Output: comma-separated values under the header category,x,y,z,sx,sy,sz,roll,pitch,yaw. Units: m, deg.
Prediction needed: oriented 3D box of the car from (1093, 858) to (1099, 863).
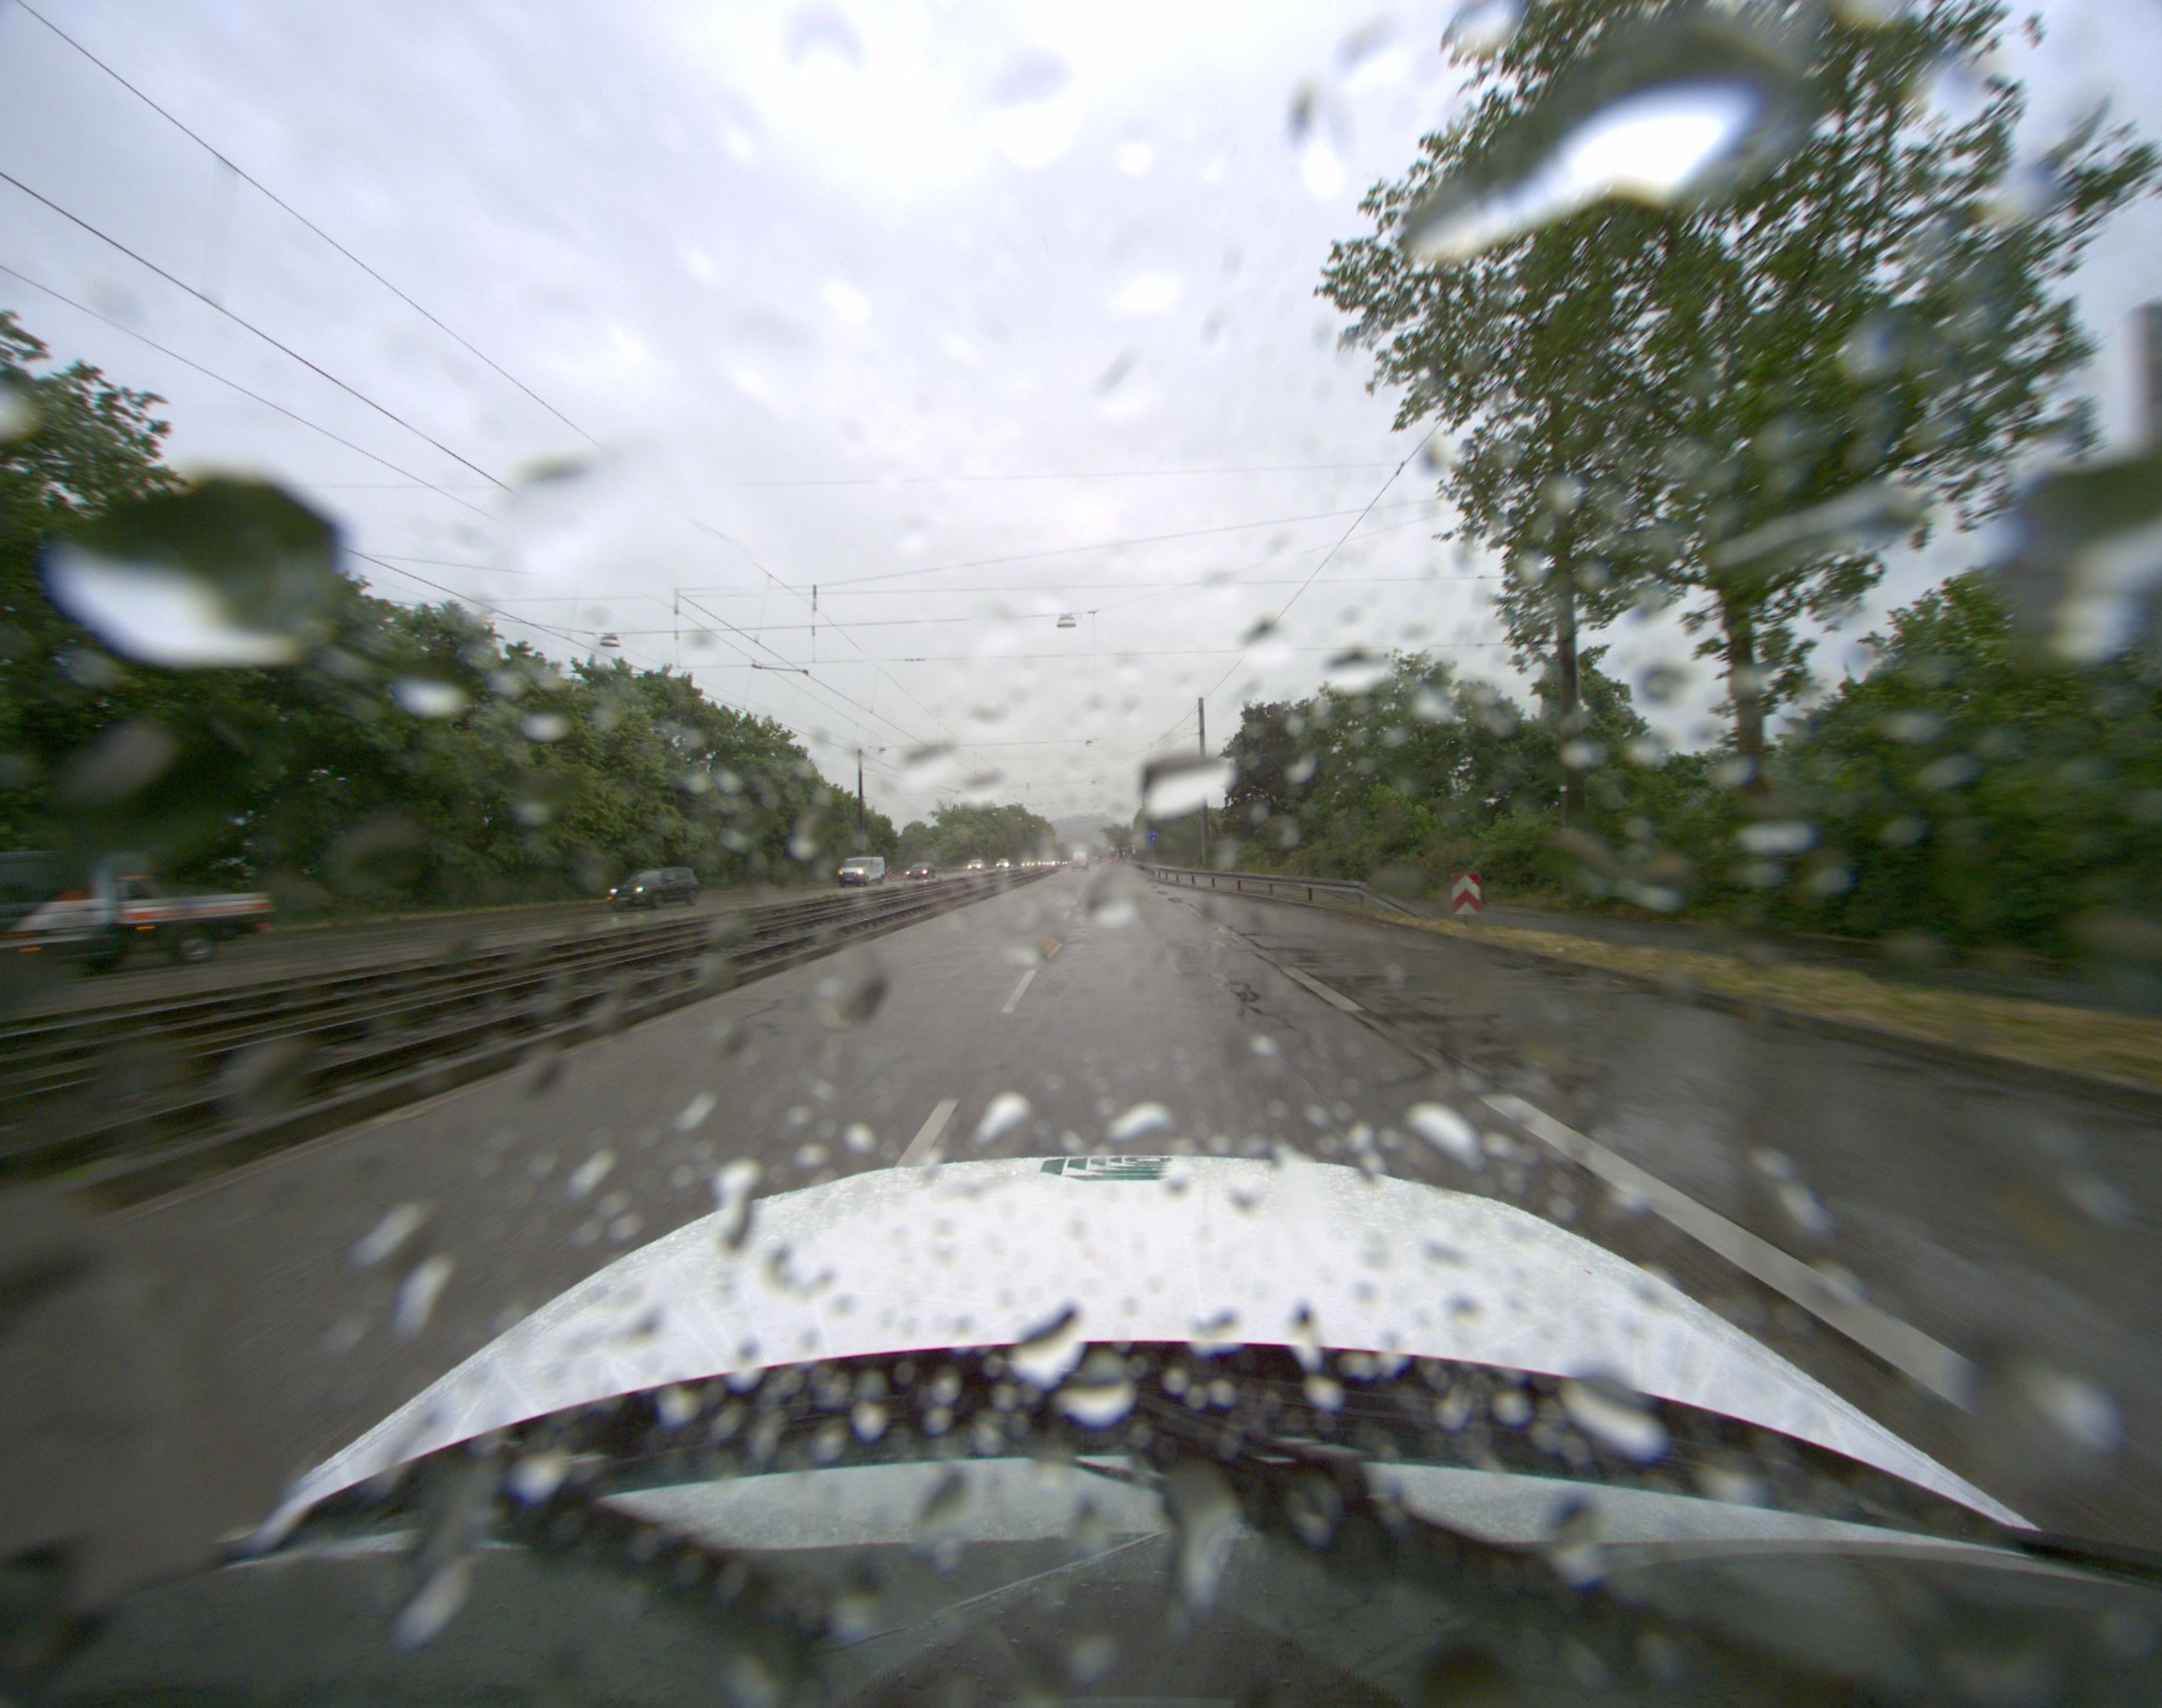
category,x,y,z,sx,sy,sz,roll,pitch,yaw
car,4.071,1.752,219.845,1.737,1.508,3.701,0,1,1

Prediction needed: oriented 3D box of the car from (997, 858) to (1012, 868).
category,x,y,z,sx,sy,sz,roll,pitch,yaw
car,-12.080,1.396,128.574,1.791,1.453,4.197,0,1,2

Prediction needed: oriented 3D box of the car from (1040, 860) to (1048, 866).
category,x,y,z,sx,sy,sz,roll,pitch,yaw
car,-9.888,2.317,217.187,1.737,1.508,3.701,0,1,1

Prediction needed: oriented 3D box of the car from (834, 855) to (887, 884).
category,x,y,z,sx,sy,sz,roll,pitch,yaw
car,-15.138,1.031,56.186,2.031,1.775,4.990,0,1,3

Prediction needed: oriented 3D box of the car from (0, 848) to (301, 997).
category,x,y,z,sx,sy,sz,roll,pitch,yaw
car,-18.409,1.112,14.464,2.090,2.343,6.996,0,1,3

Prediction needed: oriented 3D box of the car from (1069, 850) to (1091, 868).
category,x,y,z,sx,sy,sz,roll,pitch,yaw
car,-0.051,0.473,83.106,1.981,1.684,3.743,0,1,3

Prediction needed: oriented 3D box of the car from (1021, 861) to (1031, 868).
category,x,y,z,sx,sy,sz,roll,pitch,yaw
car,-11.571,2.227,171.483,1.737,1.508,3.701,0,1,1

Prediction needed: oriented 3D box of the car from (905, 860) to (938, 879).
category,x,y,z,sx,sy,sz,roll,pitch,yaw
car,-14.178,1.337,72.602,1.681,1.519,4.617,0,1,5

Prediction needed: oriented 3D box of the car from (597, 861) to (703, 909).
category,x,y,z,sx,sy,sz,roll,pitch,yaw
car,-17.462,1.208,33.216,1.833,1.716,4.168,0,1,5

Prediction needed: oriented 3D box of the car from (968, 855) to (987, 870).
category,x,y,z,sx,sy,sz,roll,pitch,yaw
car,-12.976,1.076,102.388,1.748,1.711,4.001,0,1,1
